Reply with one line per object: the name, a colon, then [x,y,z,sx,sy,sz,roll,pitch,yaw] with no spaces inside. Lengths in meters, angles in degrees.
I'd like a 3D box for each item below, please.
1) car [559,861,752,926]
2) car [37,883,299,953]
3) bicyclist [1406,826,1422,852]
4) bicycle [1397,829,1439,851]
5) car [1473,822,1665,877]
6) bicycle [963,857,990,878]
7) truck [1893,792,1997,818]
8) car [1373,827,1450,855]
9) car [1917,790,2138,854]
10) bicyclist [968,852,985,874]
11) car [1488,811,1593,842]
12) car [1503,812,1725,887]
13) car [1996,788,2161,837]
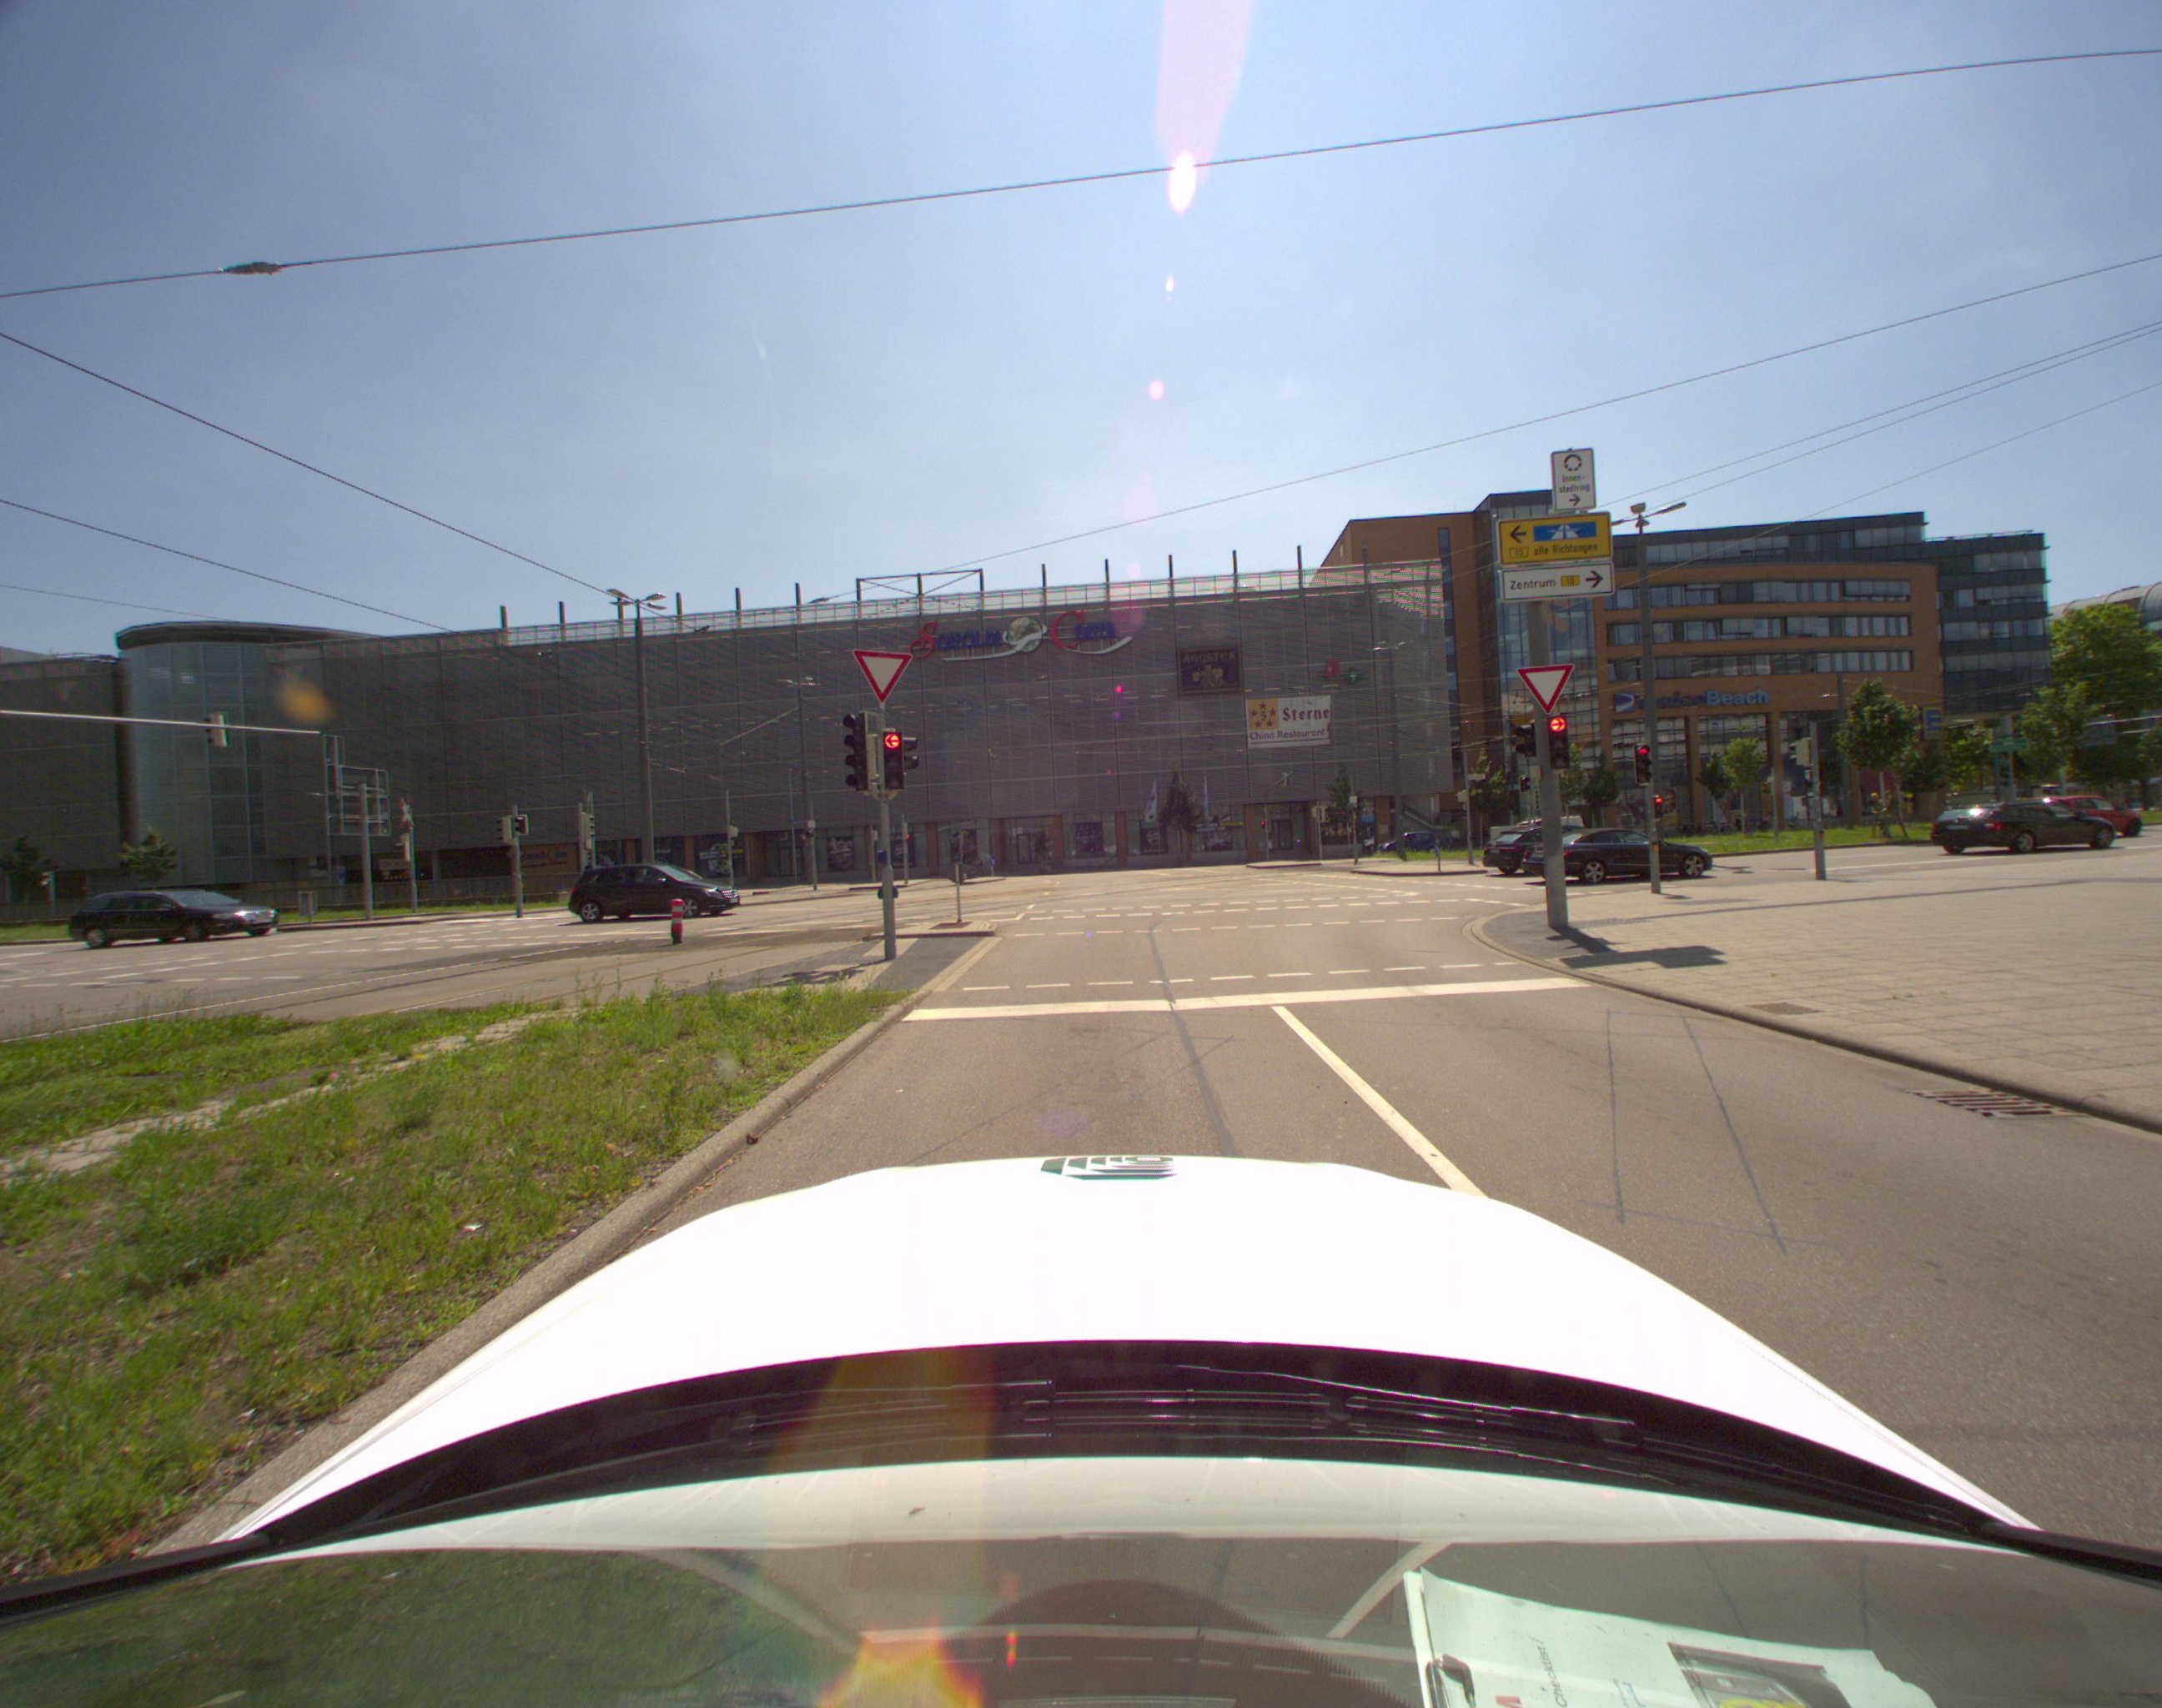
car: [-11.891,1.075,23.015,4.308,1.553,1.999,-2,1,-2]
car: [-25.591,1.754,22.987,4.844,1.580,1.998,-2,1,-4]
bicyclist: [25.733,-1.157,62.854,0.908,2.013,0.749,-2,1,4]
bicycle: [26.006,-1.061,62.849,2.835,1.557,0.706,-2,1,5]
car: [14.848,-0.156,24.965,4.749,1.460,1.888,-2,1,0]
bicycle: [-7.570,0.959,59.285,1.055,1.390,3.032,-2,1,10]
truck: [111.317,-6.288,105.154,1.999,2.809,9.185,-2,1,-17]
car: [20.231,-0.823,49.982,3.973,1.538,1.882,-2,1,0]
car: [27.206,-0.909,23.493,4.517,1.508,1.840,-3,1,-4]
bicyclist: [-7.597,0.627,59.190,1.033,1.571,0.779,-2,1,9]
car: [28.378,-1.678,50.383,5.450,1.668,1.998,-2,1,-3]
car: [13.924,-0.134,21.467,4.537,1.576,1.999,-4,1,-2]
car: [34.380,-1.413,28.044,4.123,1.508,1.837,-2,1,-8]
